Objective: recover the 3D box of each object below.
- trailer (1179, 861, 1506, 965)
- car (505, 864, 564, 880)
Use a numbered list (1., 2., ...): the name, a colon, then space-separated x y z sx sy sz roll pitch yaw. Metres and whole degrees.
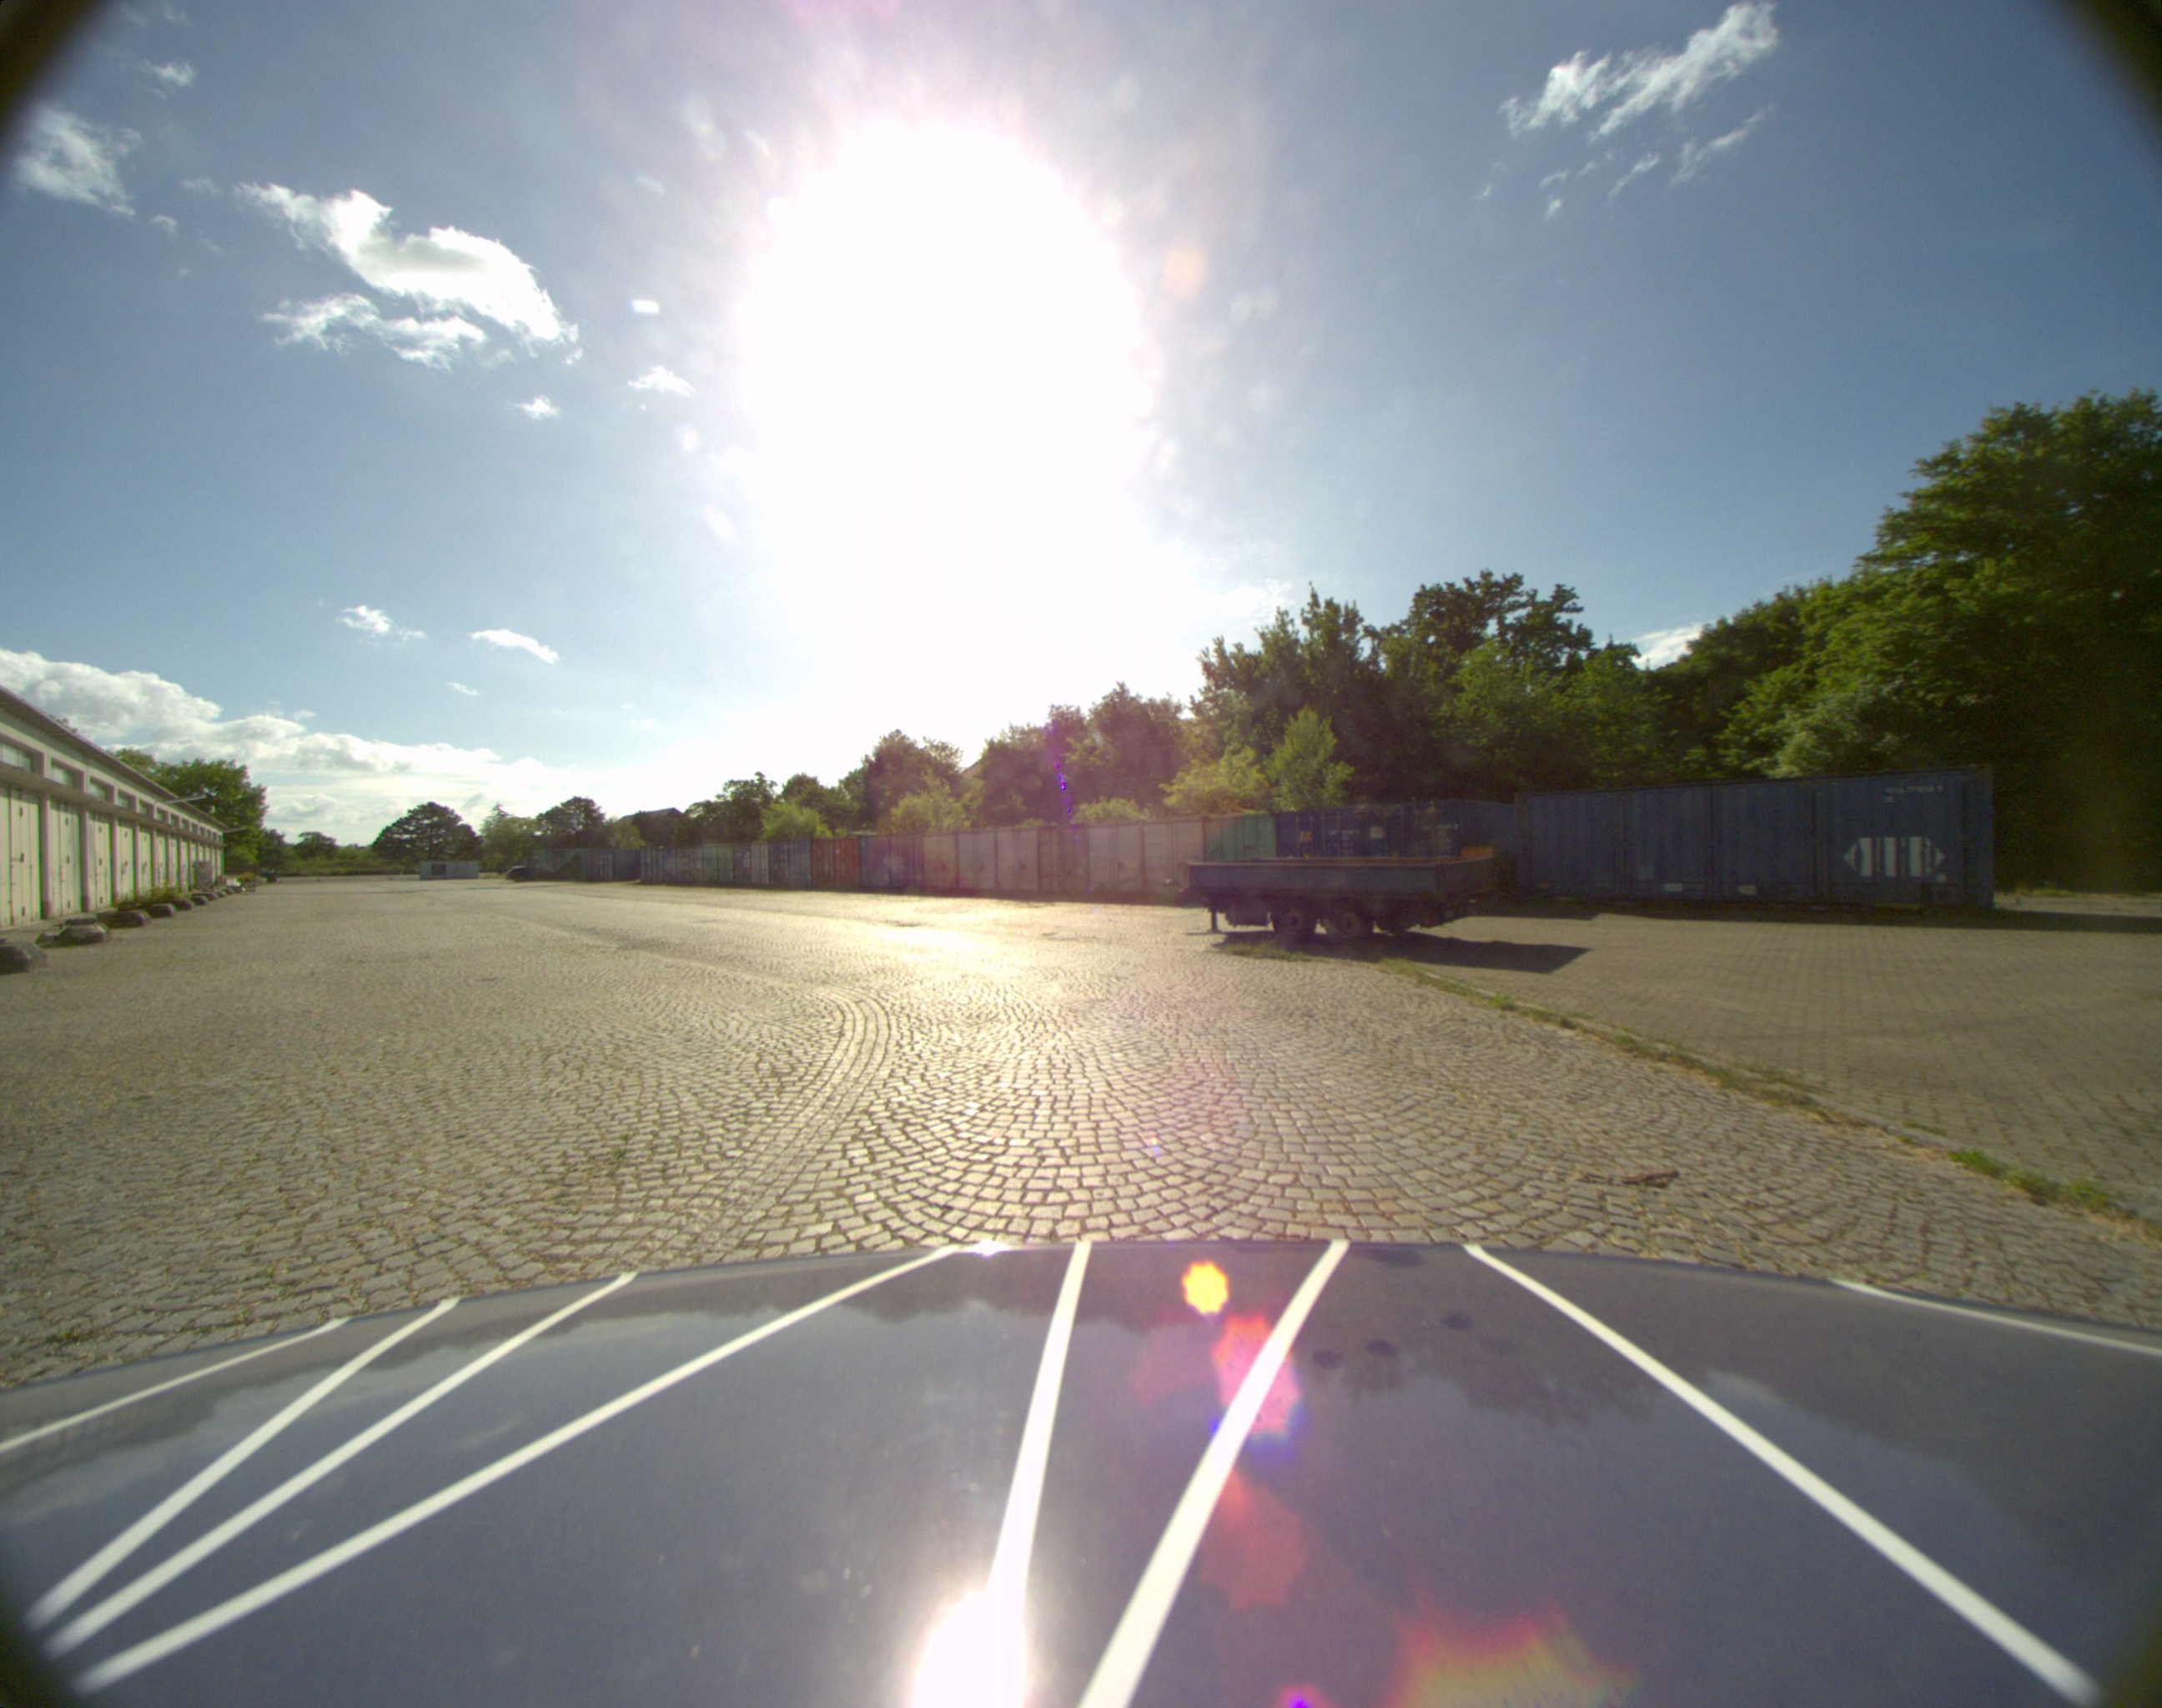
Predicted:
1. trailer: 4.508 0.874 13.565 4.847 1.406 2.654 0 1 45
2. car: -51.324 1.661 71.457 1.994 1.289 4.122 0 3 42
